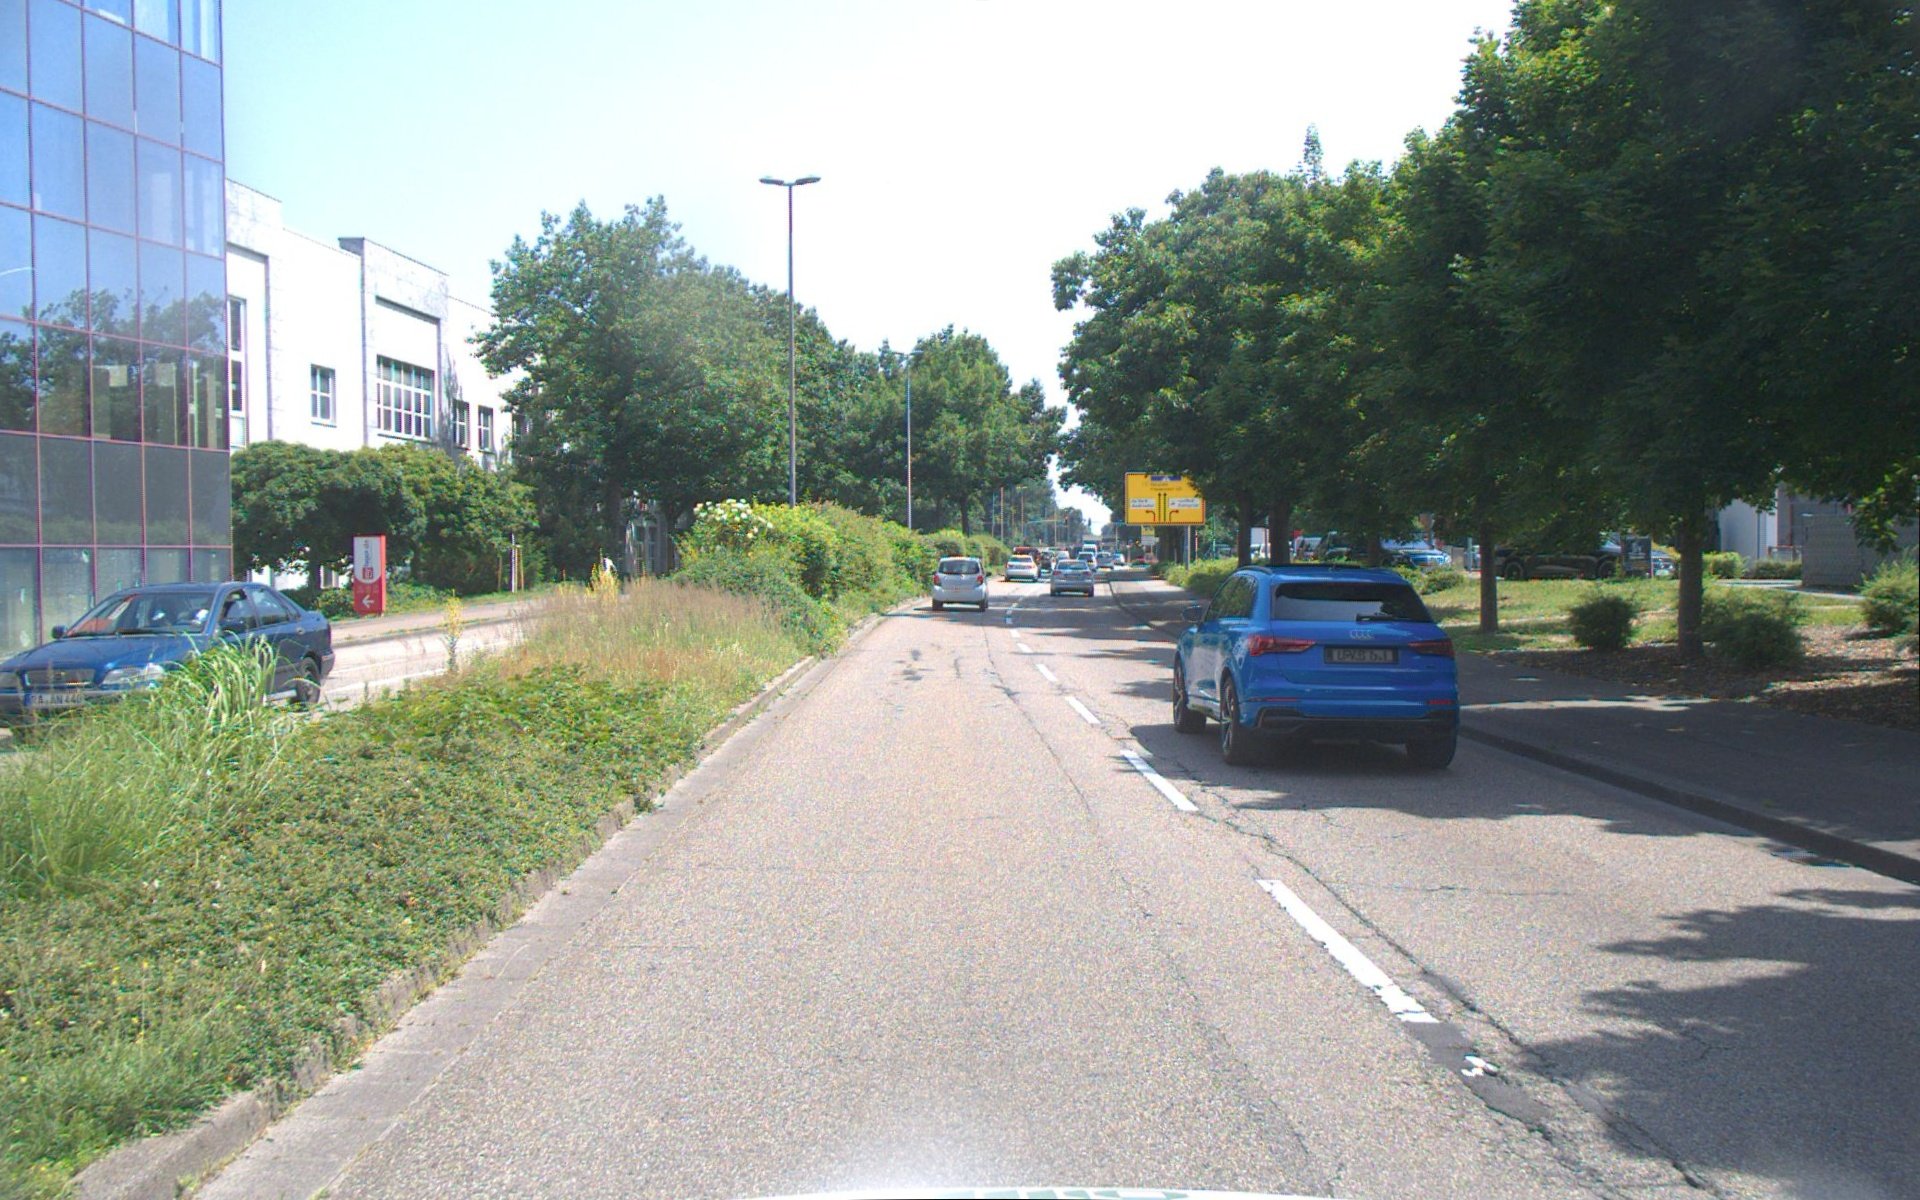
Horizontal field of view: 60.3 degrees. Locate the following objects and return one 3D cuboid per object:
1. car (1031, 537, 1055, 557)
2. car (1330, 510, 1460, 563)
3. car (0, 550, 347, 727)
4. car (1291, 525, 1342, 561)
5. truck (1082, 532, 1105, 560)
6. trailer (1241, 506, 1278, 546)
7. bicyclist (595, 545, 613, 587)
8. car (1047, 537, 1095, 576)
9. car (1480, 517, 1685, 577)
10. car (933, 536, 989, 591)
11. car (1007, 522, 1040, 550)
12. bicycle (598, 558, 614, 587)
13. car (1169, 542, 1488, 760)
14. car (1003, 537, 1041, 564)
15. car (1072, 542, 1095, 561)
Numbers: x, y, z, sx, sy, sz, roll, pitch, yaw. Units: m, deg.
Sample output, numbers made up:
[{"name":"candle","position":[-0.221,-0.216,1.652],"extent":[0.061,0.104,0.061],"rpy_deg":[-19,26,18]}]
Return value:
[{"name":"car","position":[5.892,-3.743,117.645],"extent":[1.457,1.416,3.307],"rpy_deg":[0,1,0]},{"name":"car","position":[12.941,-1.864,49.612],"extent":[1.869,1.476,5.594],"rpy_deg":[0,1,-6]},{"name":"car","position":[-7.699,0.270,16.329],"extent":[1.687,1.441,4.247],"rpy_deg":[-3,2,-1]},{"name":"car","position":[13.367,-2.117,62.101],"extent":[1.584,1.274,3.767],"rpy_deg":[1,1,8]},{"name":"truck","position":[17.650,-7.130,218.672],"extent":[2.870,3.563,9.165],"rpy_deg":[-1,2,5]},{"name":"trailer","position":[15.903,-3.925,88.027],"extent":[1.664,2.090,5.489],"rpy_deg":[0,2,7]},{"name":"bicyclist","position":[-13.247,-1.273,61.538],"extent":[0.534,1.535,0.343],"rpy_deg":[-3,1,-1]},{"name":"car","position":[4.389,-1.718,65.313],"extent":[1.826,1.498,4.003],"rpy_deg":[1,1,4]},{"name":"car","position":[15.696,-1.318,41.920],"extent":[1.928,1.375,4.664],"rpy_deg":[-3,2,-32]},{"name":"car","position":[0.047,-1.099,49.171],"extent":[1.604,1.579,3.326],"rpy_deg":[0,1,1]},{"name":"car","position":[3.982,-3.978,103.322],"extent":[1.845,1.636,4.003],"rpy_deg":[-2,2,5]},{"name":"bicycle","position":[-13.181,-1.026,61.584],"extent":[0.339,1.086,0.923],"rpy_deg":[-2,1,0]},{"name":"car","position":[3.031,0.328,14.545],"extent":[1.772,1.620,4.349],"rpy_deg":[0,1,-1]},{"name":"car","position":[3.347,-2.653,88.891],"extent":[1.845,1.377,4.003],"rpy_deg":[1,1,5]},{"name":"car","position":[9.216,-3.625,123.315],"extent":[1.412,1.371,3.460],"rpy_deg":[-2,2,0]}]
